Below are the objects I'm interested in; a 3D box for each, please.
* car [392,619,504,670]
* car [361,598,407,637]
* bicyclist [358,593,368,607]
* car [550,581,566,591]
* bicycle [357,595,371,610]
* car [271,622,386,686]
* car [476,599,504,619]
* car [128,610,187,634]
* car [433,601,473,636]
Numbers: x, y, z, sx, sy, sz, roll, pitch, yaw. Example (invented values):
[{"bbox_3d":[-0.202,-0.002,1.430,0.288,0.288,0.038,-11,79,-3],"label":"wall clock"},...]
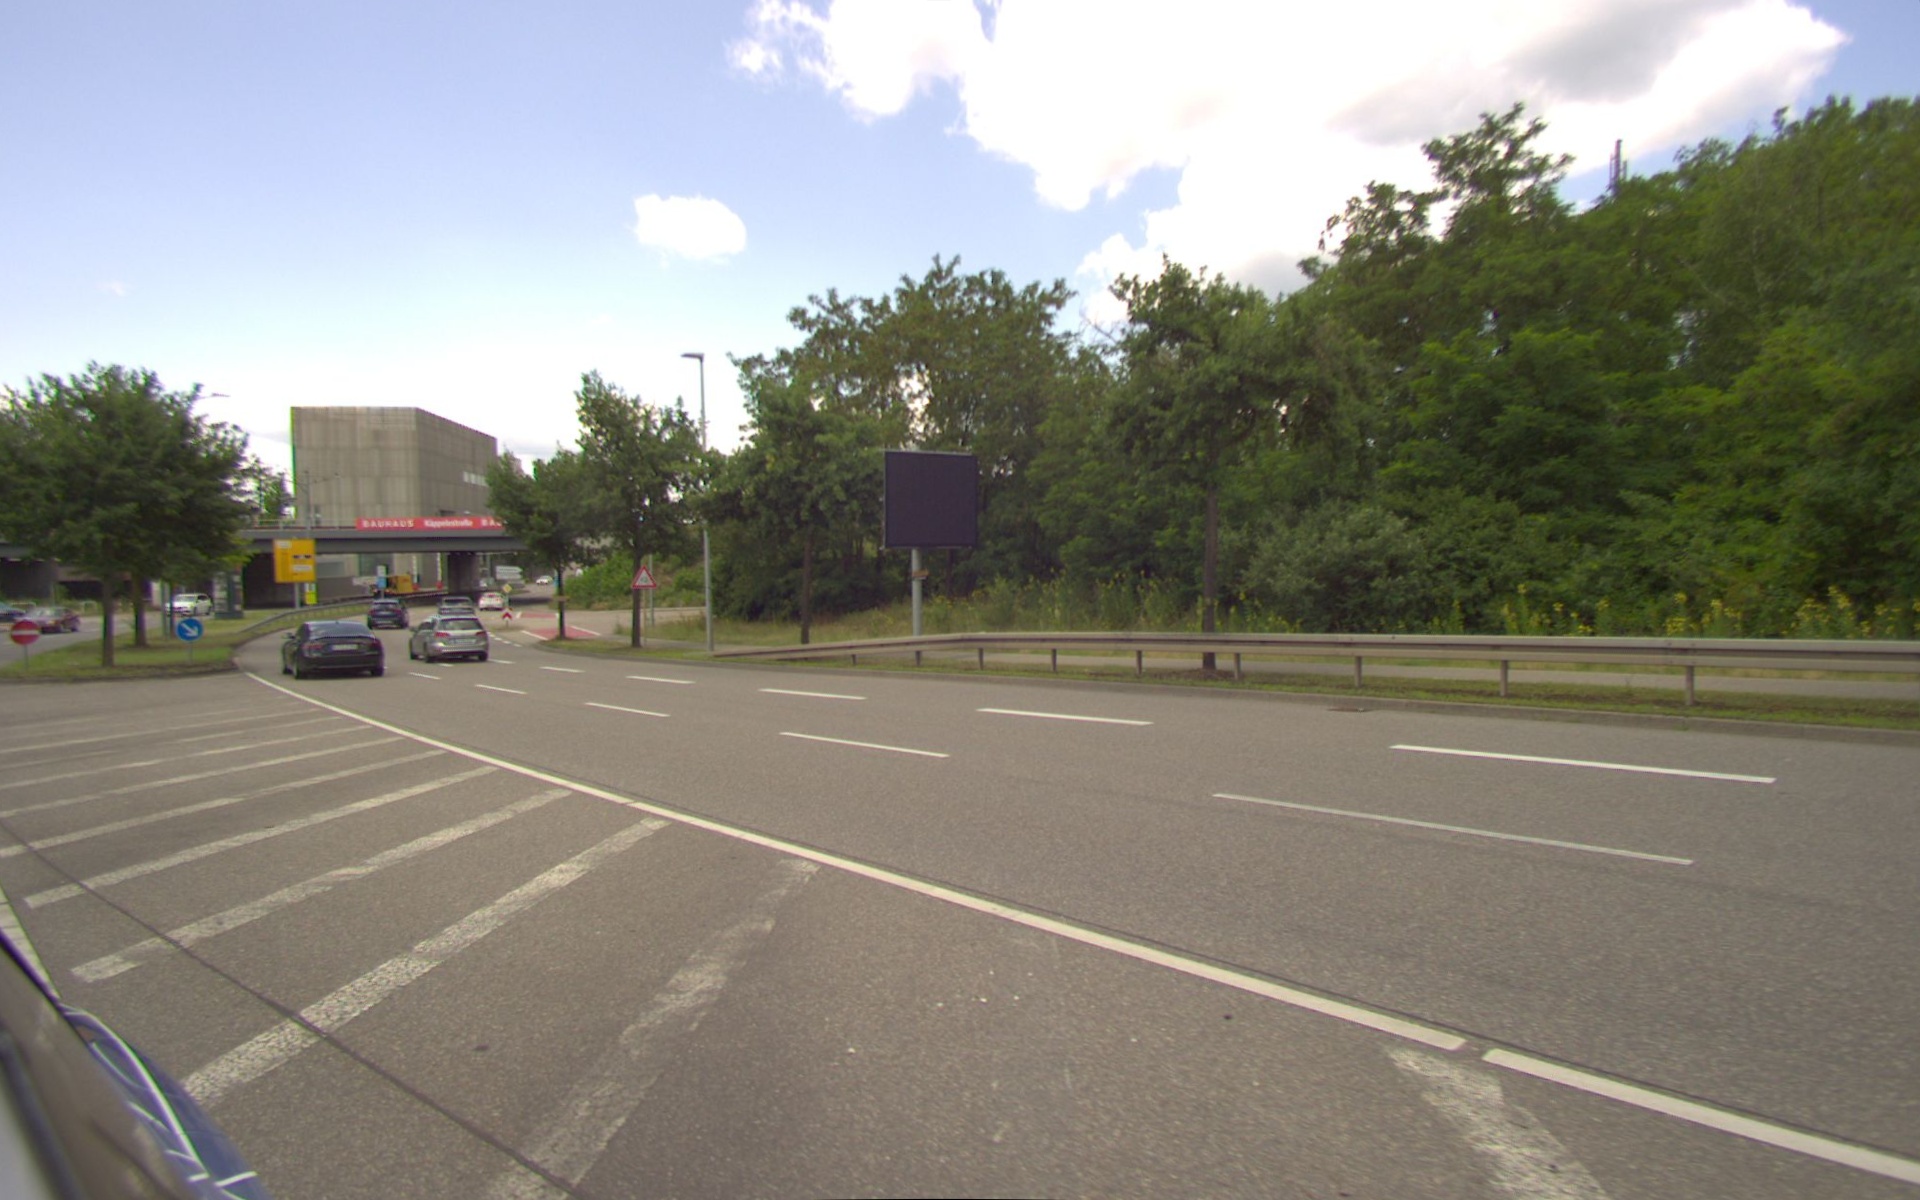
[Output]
[{"bbox_3d":[-16.045,1.371,31.608,1.969,1.407,4.705,-1,-1,-41],"label":"car"},{"bbox_3d":[-32.959,1.025,57.994,1.965,2.029,4.833,-2,-1,-26],"label":"car"},{"bbox_3d":[-76.076,-0.010,128.964,0.705,1.782,0.991,-1,2,-12],"label":"bicyclist"},{"bbox_3d":[-70.490,-2.461,177.517,1.755,1.507,3.606,-1,2,-9],"label":"car"},{"bbox_3d":[-76.160,0.324,129.314,0.710,1.787,2.540,-1,2,-12],"label":"bicycle"},{"bbox_3d":[-15.547,1.242,24.802,1.879,1.374,4.584,1,-1,-38],"label":"car"},{"bbox_3d":[-39.516,0.734,85.020,1.965,1.544,4.346,1,0,-27],"label":"car"},{"bbox_3d":[-57.443,1.533,72.499,1.687,1.507,3.658,-1,2,-9],"label":"car"},{"bbox_3d":[-29.735,1.062,59.331,1.965,1.875,4.730,-1,1,-27],"label":"car"}]
